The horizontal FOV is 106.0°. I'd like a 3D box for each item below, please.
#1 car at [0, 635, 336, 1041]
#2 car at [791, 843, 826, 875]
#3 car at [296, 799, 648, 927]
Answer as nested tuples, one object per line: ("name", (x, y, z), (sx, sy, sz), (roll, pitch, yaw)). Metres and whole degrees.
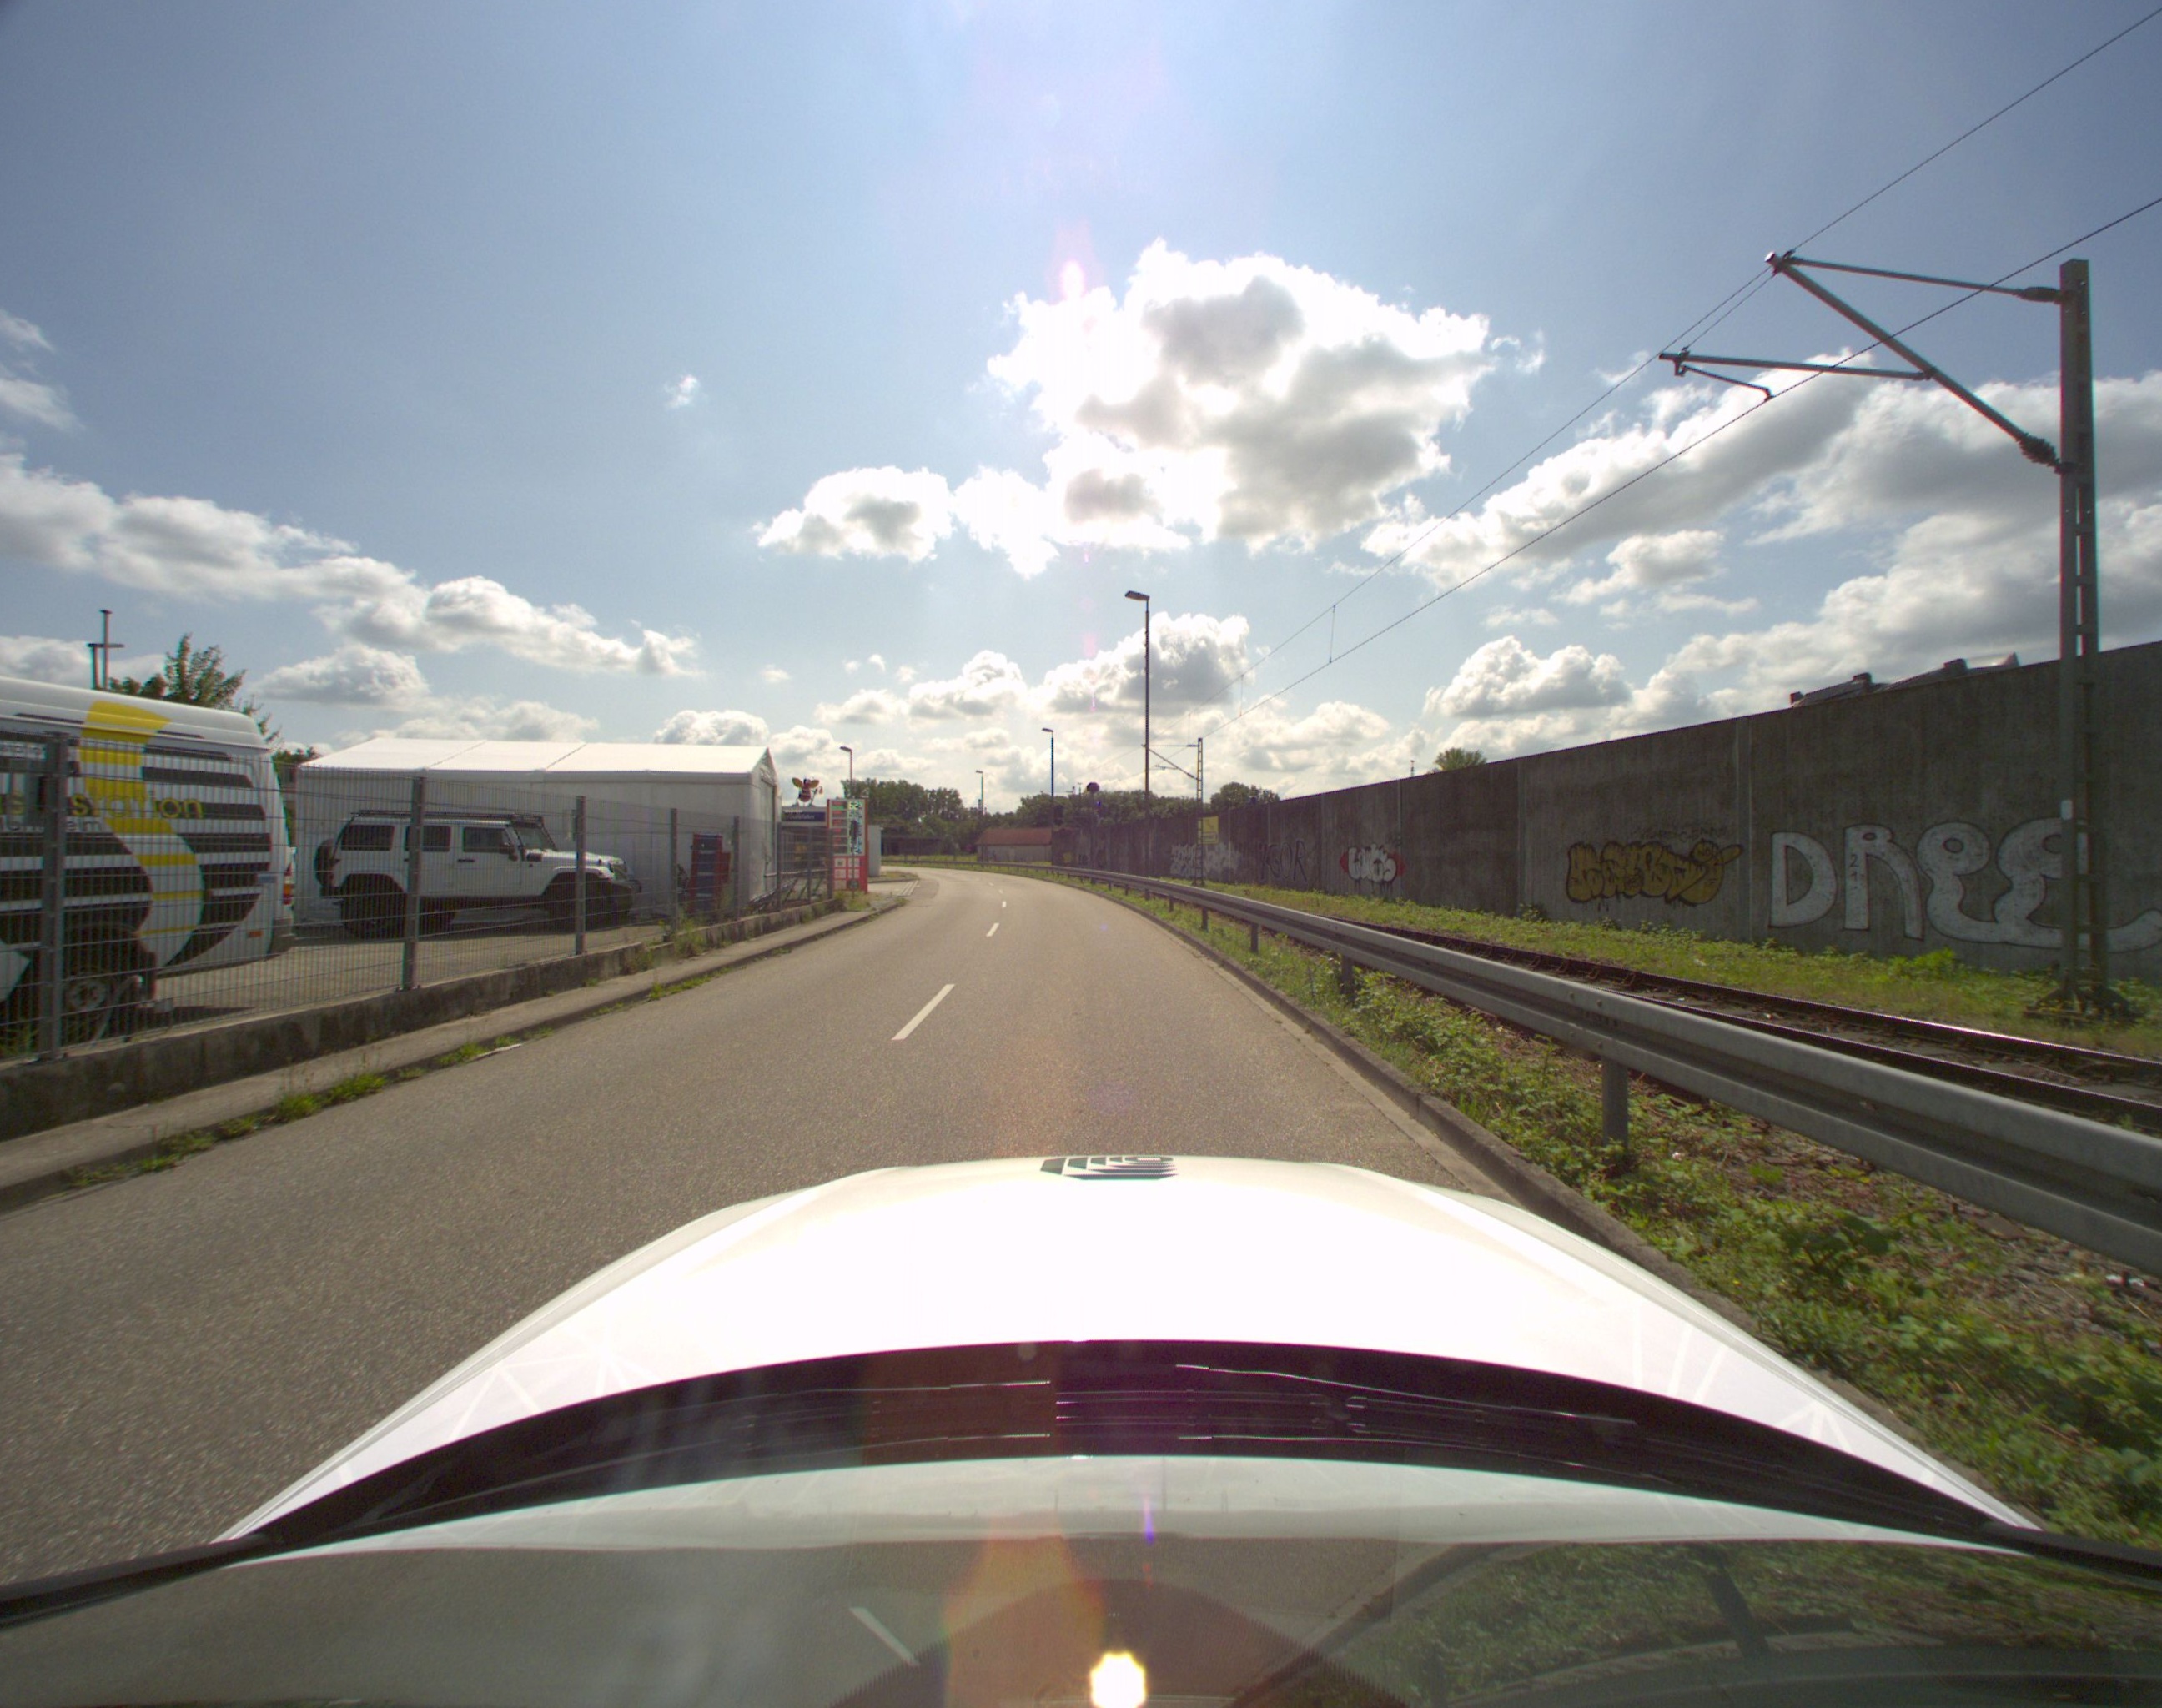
("car", (-7.757, -0.096, 4.091), (2.114, 2.537, 6.709), (0, 0, -3))
("car", (-18.860, 0.360, 56.559), (1.997, 2.109, 4.984), (0, -1, -15))
("car", (-10.502, 0.149, 14.528), (4.567, 2.027, 2.046), (0, -1, -18))
